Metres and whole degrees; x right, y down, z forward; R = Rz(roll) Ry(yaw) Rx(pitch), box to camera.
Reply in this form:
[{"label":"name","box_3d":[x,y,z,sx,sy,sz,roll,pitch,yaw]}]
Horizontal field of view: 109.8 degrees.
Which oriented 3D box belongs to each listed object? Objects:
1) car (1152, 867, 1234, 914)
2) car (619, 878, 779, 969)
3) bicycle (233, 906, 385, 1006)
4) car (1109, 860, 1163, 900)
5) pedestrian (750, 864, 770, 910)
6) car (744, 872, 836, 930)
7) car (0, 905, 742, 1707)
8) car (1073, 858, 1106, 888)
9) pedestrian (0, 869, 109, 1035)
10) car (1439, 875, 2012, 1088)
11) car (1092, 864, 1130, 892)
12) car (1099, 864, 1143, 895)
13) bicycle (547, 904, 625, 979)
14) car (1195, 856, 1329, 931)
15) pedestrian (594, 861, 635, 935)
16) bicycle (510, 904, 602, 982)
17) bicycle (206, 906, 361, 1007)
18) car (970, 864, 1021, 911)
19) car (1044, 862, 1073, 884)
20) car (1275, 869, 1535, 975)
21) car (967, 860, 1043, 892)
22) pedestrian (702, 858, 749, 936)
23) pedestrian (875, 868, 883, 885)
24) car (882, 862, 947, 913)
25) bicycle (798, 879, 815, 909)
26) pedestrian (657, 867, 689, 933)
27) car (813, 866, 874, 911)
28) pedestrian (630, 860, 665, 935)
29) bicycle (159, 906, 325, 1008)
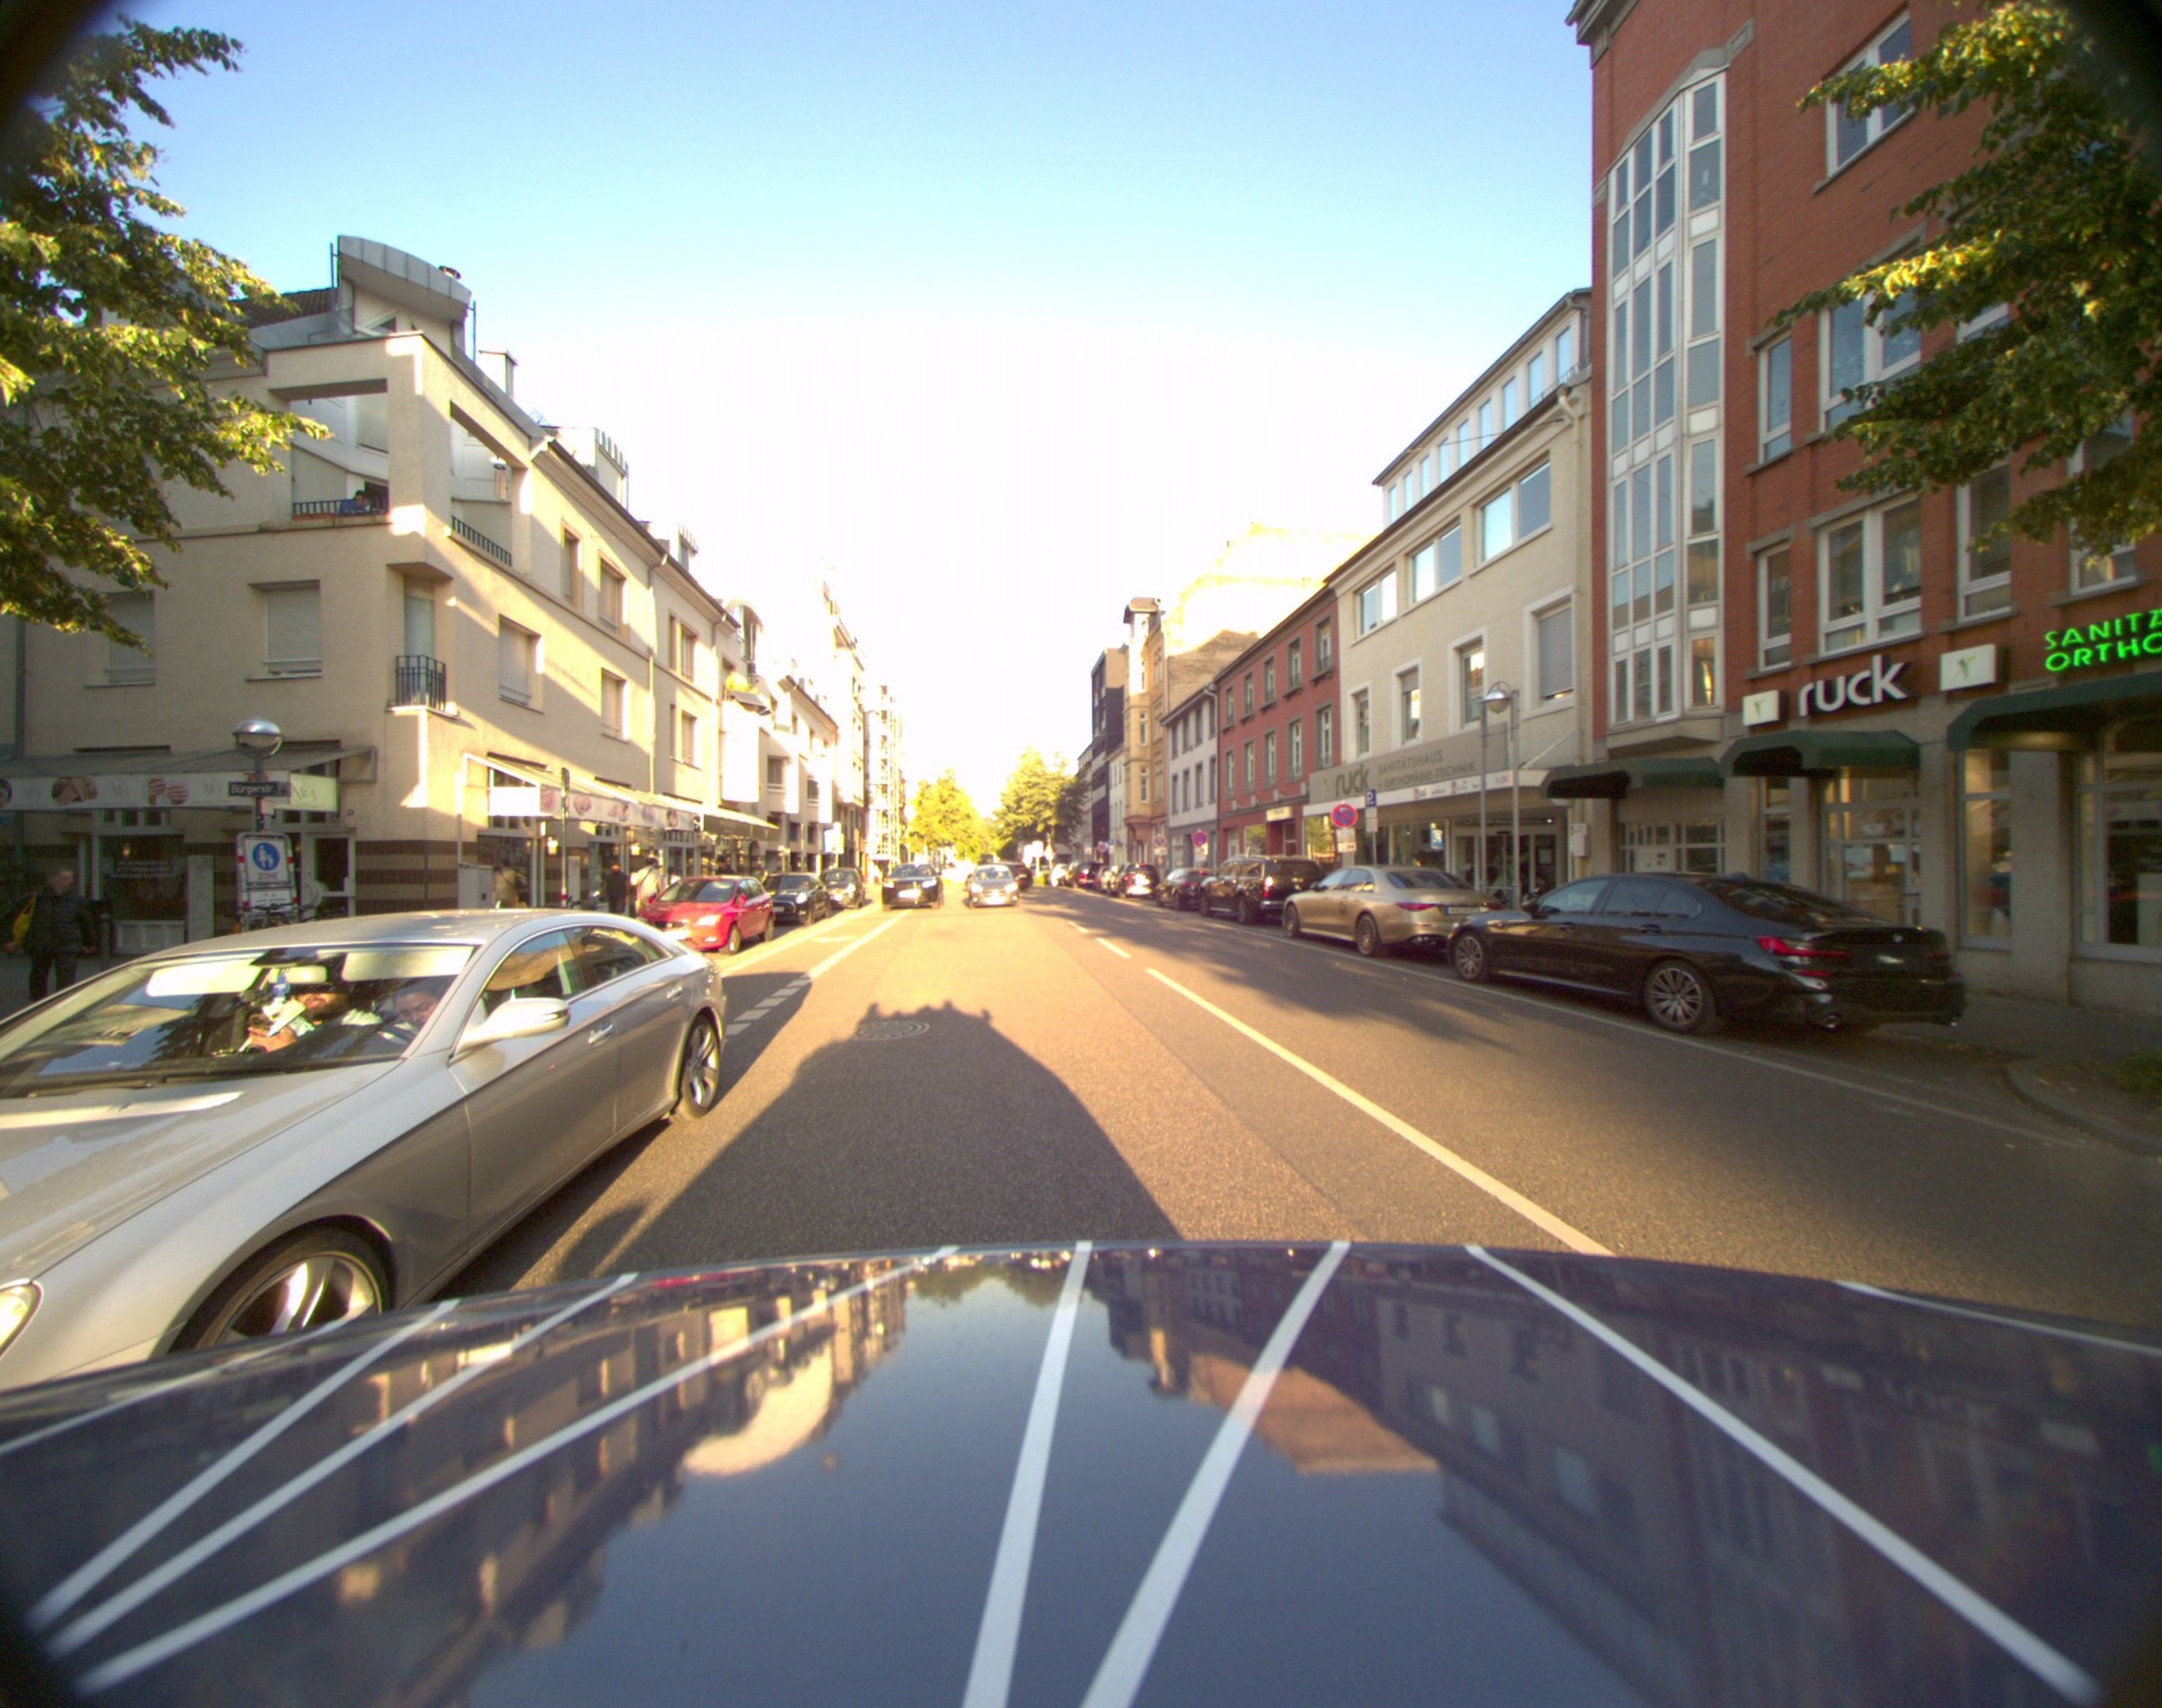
[{"label":"car","box_3d":[3.806,1.223,26.481,1.707,1.429,4.012,2,-1,-8]},{"label":"car","box_3d":[-7.200,1.224,14.737,1.594,1.425,3.923,0,0,-8]},{"label":"bicycle","box_3d":[-10.302,1.312,10.238,0.322,1.098,1.878,-1,0,-7]},{"label":"car","box_3d":[2.467,1.159,34.893,1.726,1.673,4.047,2,-1,-6]},{"label":"pedestrian","box_3d":[-12.645,1.300,29.960,0.576,1.789,0.449,-2,1,-9]},{"label":"car","box_3d":[-8.193,1.275,21.738,1.622,1.425,3.923,0,0,-8]},{"label":"car","box_3d":[-3.036,1.089,3.105,1.748,1.393,4.636,-2,0,-8]},{"label":"car","box_3d":[0.493,1.152,47.872,1.674,1.763,3.563,2,-1,-6]},{"label":"pedestrian","box_3d":[-11.213,1.007,8.233,0.795,1.666,0.704,2,1,28]},{"label":"car","box_3d":[5.876,1.014,7.877,1.726,1.464,4.538,2,-1,-7]},{"label":"car","box_3d":[1.712,1.359,44.131,1.674,1.448,3.563,2,-1,-6]},{"label":"car","box_3d":[2.055,1.314,39.924,1.690,1.461,3.689,2,-1,-6]},{"label":"bicycle","box_3d":[-8.009,1.380,12.359,0.315,1.040,1.664,0,0,-5]},{"label":"car","box_3d":[4.653,0.962,20.372,1.726,1.768,4.935,1,-1,-9]},{"label":"pedestrian","box_3d":[-11.217,1.032,18.290,0.631,1.739,0.669,0,0,-8]},{"label":"bicycle","box_3d":[-8.352,1.375,12.165,0.315,1.040,1.881,0,0,-5]},{"label":"bicycle","box_3d":[-10.608,1.310,10.197,0.291,1.098,1.886,-1,0,-7]},{"label":"car","box_3d":[-3.057,1.128,26.827,1.623,1.465,3.686,-2,0,-8]},{"label":"car","box_3d":[-1.636,1.352,54.824,1.674,1.512,3.562,1,0,-8]},{"label":"car","box_3d":[5.350,1.037,13.518,2.000,1.463,5.104,1,-1,-6]},{"label":"car","box_3d":[-4.196,1.152,41.672,4.283,1.665,1.740,0,0,43]},{"label":"pedestrian","box_3d":[-8.926,1.051,19.079,0.779,1.872,0.669,-4,1,-8]},{"label":"pedestrian","box_3d":[-16.012,1.781,60.278,0.492,1.256,0.421,-2,1,-7]},{"label":"car","box_3d":[-5.944,1.135,27.510,1.891,1.626,4.224,-2,0,-8]},{"label":"bicycle","box_3d":[-10.603,1.516,29.374,0.296,1.079,1.462,-1,0,-7]},{"label":"pedestrian","box_3d":[-10.000,1.130,18.634,0.521,1.583,0.408,2,0,-8]},{"label":"car","box_3d":[-9.056,1.262,29.230,1.622,1.583,3.923,-1,0,-8]},{"label":"pedestrian","box_3d":[-10.398,1.039,18.235,0.545,1.748,0.502,2,0,-8]},{"label":"bicycle","box_3d":[-11.094,1.313,10.144,0.322,1.098,1.878,-1,0,-7]}]
